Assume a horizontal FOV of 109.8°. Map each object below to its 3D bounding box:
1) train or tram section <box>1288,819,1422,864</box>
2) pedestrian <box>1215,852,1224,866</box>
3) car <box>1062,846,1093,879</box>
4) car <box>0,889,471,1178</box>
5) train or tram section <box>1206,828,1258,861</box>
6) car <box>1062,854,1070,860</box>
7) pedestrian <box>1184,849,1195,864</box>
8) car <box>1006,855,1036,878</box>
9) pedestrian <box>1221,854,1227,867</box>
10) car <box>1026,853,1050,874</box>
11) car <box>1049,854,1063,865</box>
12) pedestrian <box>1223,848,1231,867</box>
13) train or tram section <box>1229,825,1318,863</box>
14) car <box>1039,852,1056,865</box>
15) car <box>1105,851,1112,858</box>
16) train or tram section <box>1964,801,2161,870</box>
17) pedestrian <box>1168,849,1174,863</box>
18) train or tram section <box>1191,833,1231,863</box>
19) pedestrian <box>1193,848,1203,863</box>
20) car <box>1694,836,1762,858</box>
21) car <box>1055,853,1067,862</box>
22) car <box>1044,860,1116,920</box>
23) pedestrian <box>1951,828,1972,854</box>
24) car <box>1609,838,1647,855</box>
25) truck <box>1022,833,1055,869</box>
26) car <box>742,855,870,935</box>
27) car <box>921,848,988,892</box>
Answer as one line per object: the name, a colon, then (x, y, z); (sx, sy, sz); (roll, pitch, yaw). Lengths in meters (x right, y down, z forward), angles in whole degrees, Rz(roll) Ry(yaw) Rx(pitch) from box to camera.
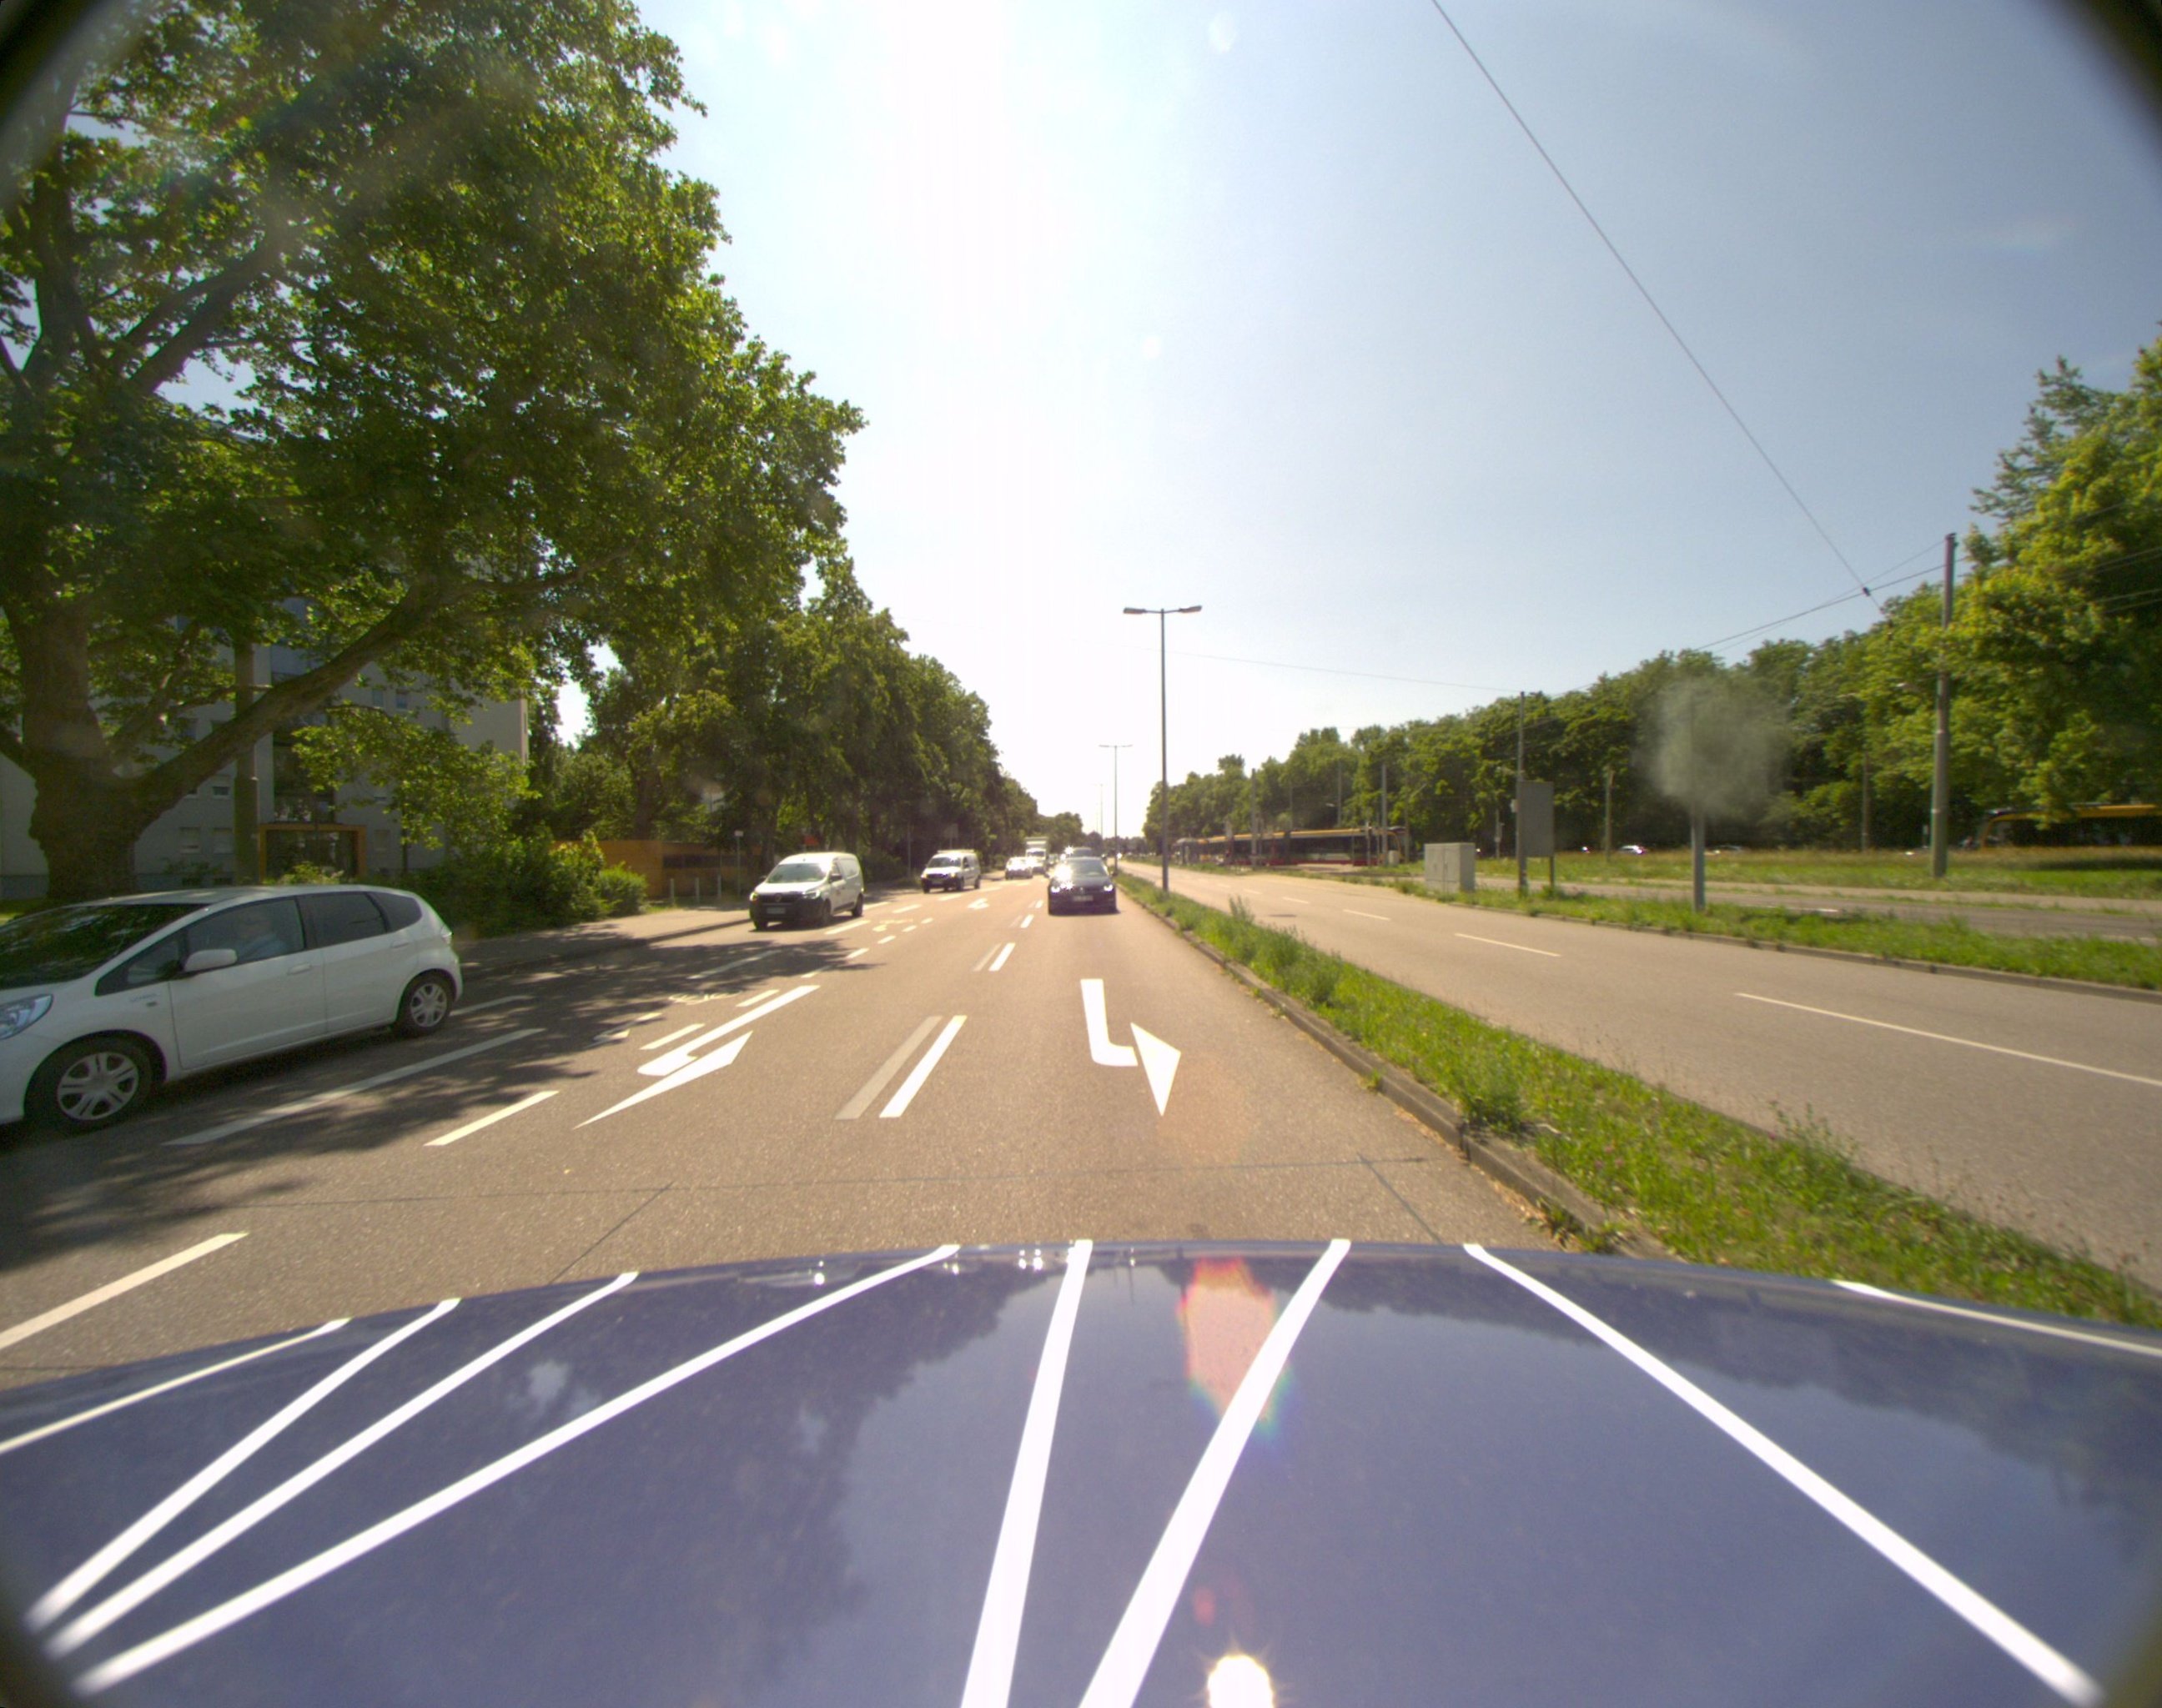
train or tram section: (24.339, -1.001, 68.558); (3.058, 3.603, 12.425); (-3, 0, -28)
pedestrian: (11.937, 0.430, 65.446); (0.582, 1.182, 0.536); (-2, 1, 0)
car: (-0.192, 0.457, 44.964); (1.746, 1.840, 3.887); (-1, 0, 0)
car: (-7.057, 1.131, 5.764); (1.725, 1.480, 3.877); (-2, 0, -2)
train or tram section: (17.938, -1.073, 91.511); (3.052, 3.603, 13.895); (-2, 0, -1)
car: (-3.626, 0.625, 187.112); (1.745, 1.382, 3.888); (-1, 0, 4)
pedestrian: (11.616, 0.290, 81.021); (0.933, 1.537, 0.985); (-2, 1, -2)
car: (-4.123, 0.845, 52.475); (1.626, 1.433, 3.498); (-2, 0, 2)
pedestrian: (12.119, 0.564, 64.582); (0.384, 1.052, 0.377); (-2, 1, -2)
car: (-3.488, 0.743, 61.849); (1.618, 1.373, 4.113); (-2, 2, 1)
car: (-3.249, 0.718, 100.670); (1.618, 1.373, 4.114); (-2, 0, 1)
pedestrian: (12.332, 0.307, 64.118); (0.536, 1.556, 0.582); (-2, 1, -2)
train or tram section: (19.792, -0.938, 79.420); (3.055, 3.603, 12.435); (-3, 0, -16)
car: (-3.769, 0.523, 85.783); (1.746, 1.382, 3.887); (-1, 0, 0)
car: (6.925, 0.135, 190.598); (1.773, 1.496, 3.720); (-1, 0, 2)
train or tram section: (56.740, -1.054, 39.969); (3.052, 3.446, 13.230); (-3, 0, -43)
pedestrian: (11.927, 0.281, 100.433); (0.633, 1.781, 0.776); (-2, 1, -2)
train or tram section: (17.829, -0.851, 105.177); (3.051, 3.745, 13.260); (-2, 0, 0)
pedestrian: (12.305, 0.136, 79.889); (0.837, 1.499, 0.879); (-2, 1, -2)
car: (55.808, -0.566, 65.616); (2.001, 1.718, 3.994); (-3, 0, -19)
car: (-3.084, 0.519, 117.104); (1.746, 1.382, 3.887); (-1, 0, 0)
car: (-0.013, 0.910, 20.821); (1.746, 1.382, 3.887); (-2, 0, 0)
pedestrian: (54.799, -0.794, 47.290); (0.788, 1.565, 0.692); (-2, 1, 43)
car: (57.443, -0.779, 79.883); (1.389, 1.586, 3.068); (-3, 0, -14)
truck: (-4.079, -0.292, 74.092); (2.490, 3.277, 6.605); (-1, 0, 2)
car: (-6.867, 0.929, 19.490); (1.714, 1.737, 4.426); (-2, 0, -2)
car: (-5.773, 0.694, 35.401); (1.809, 1.845, 5.084); (-2, 0, 5)
